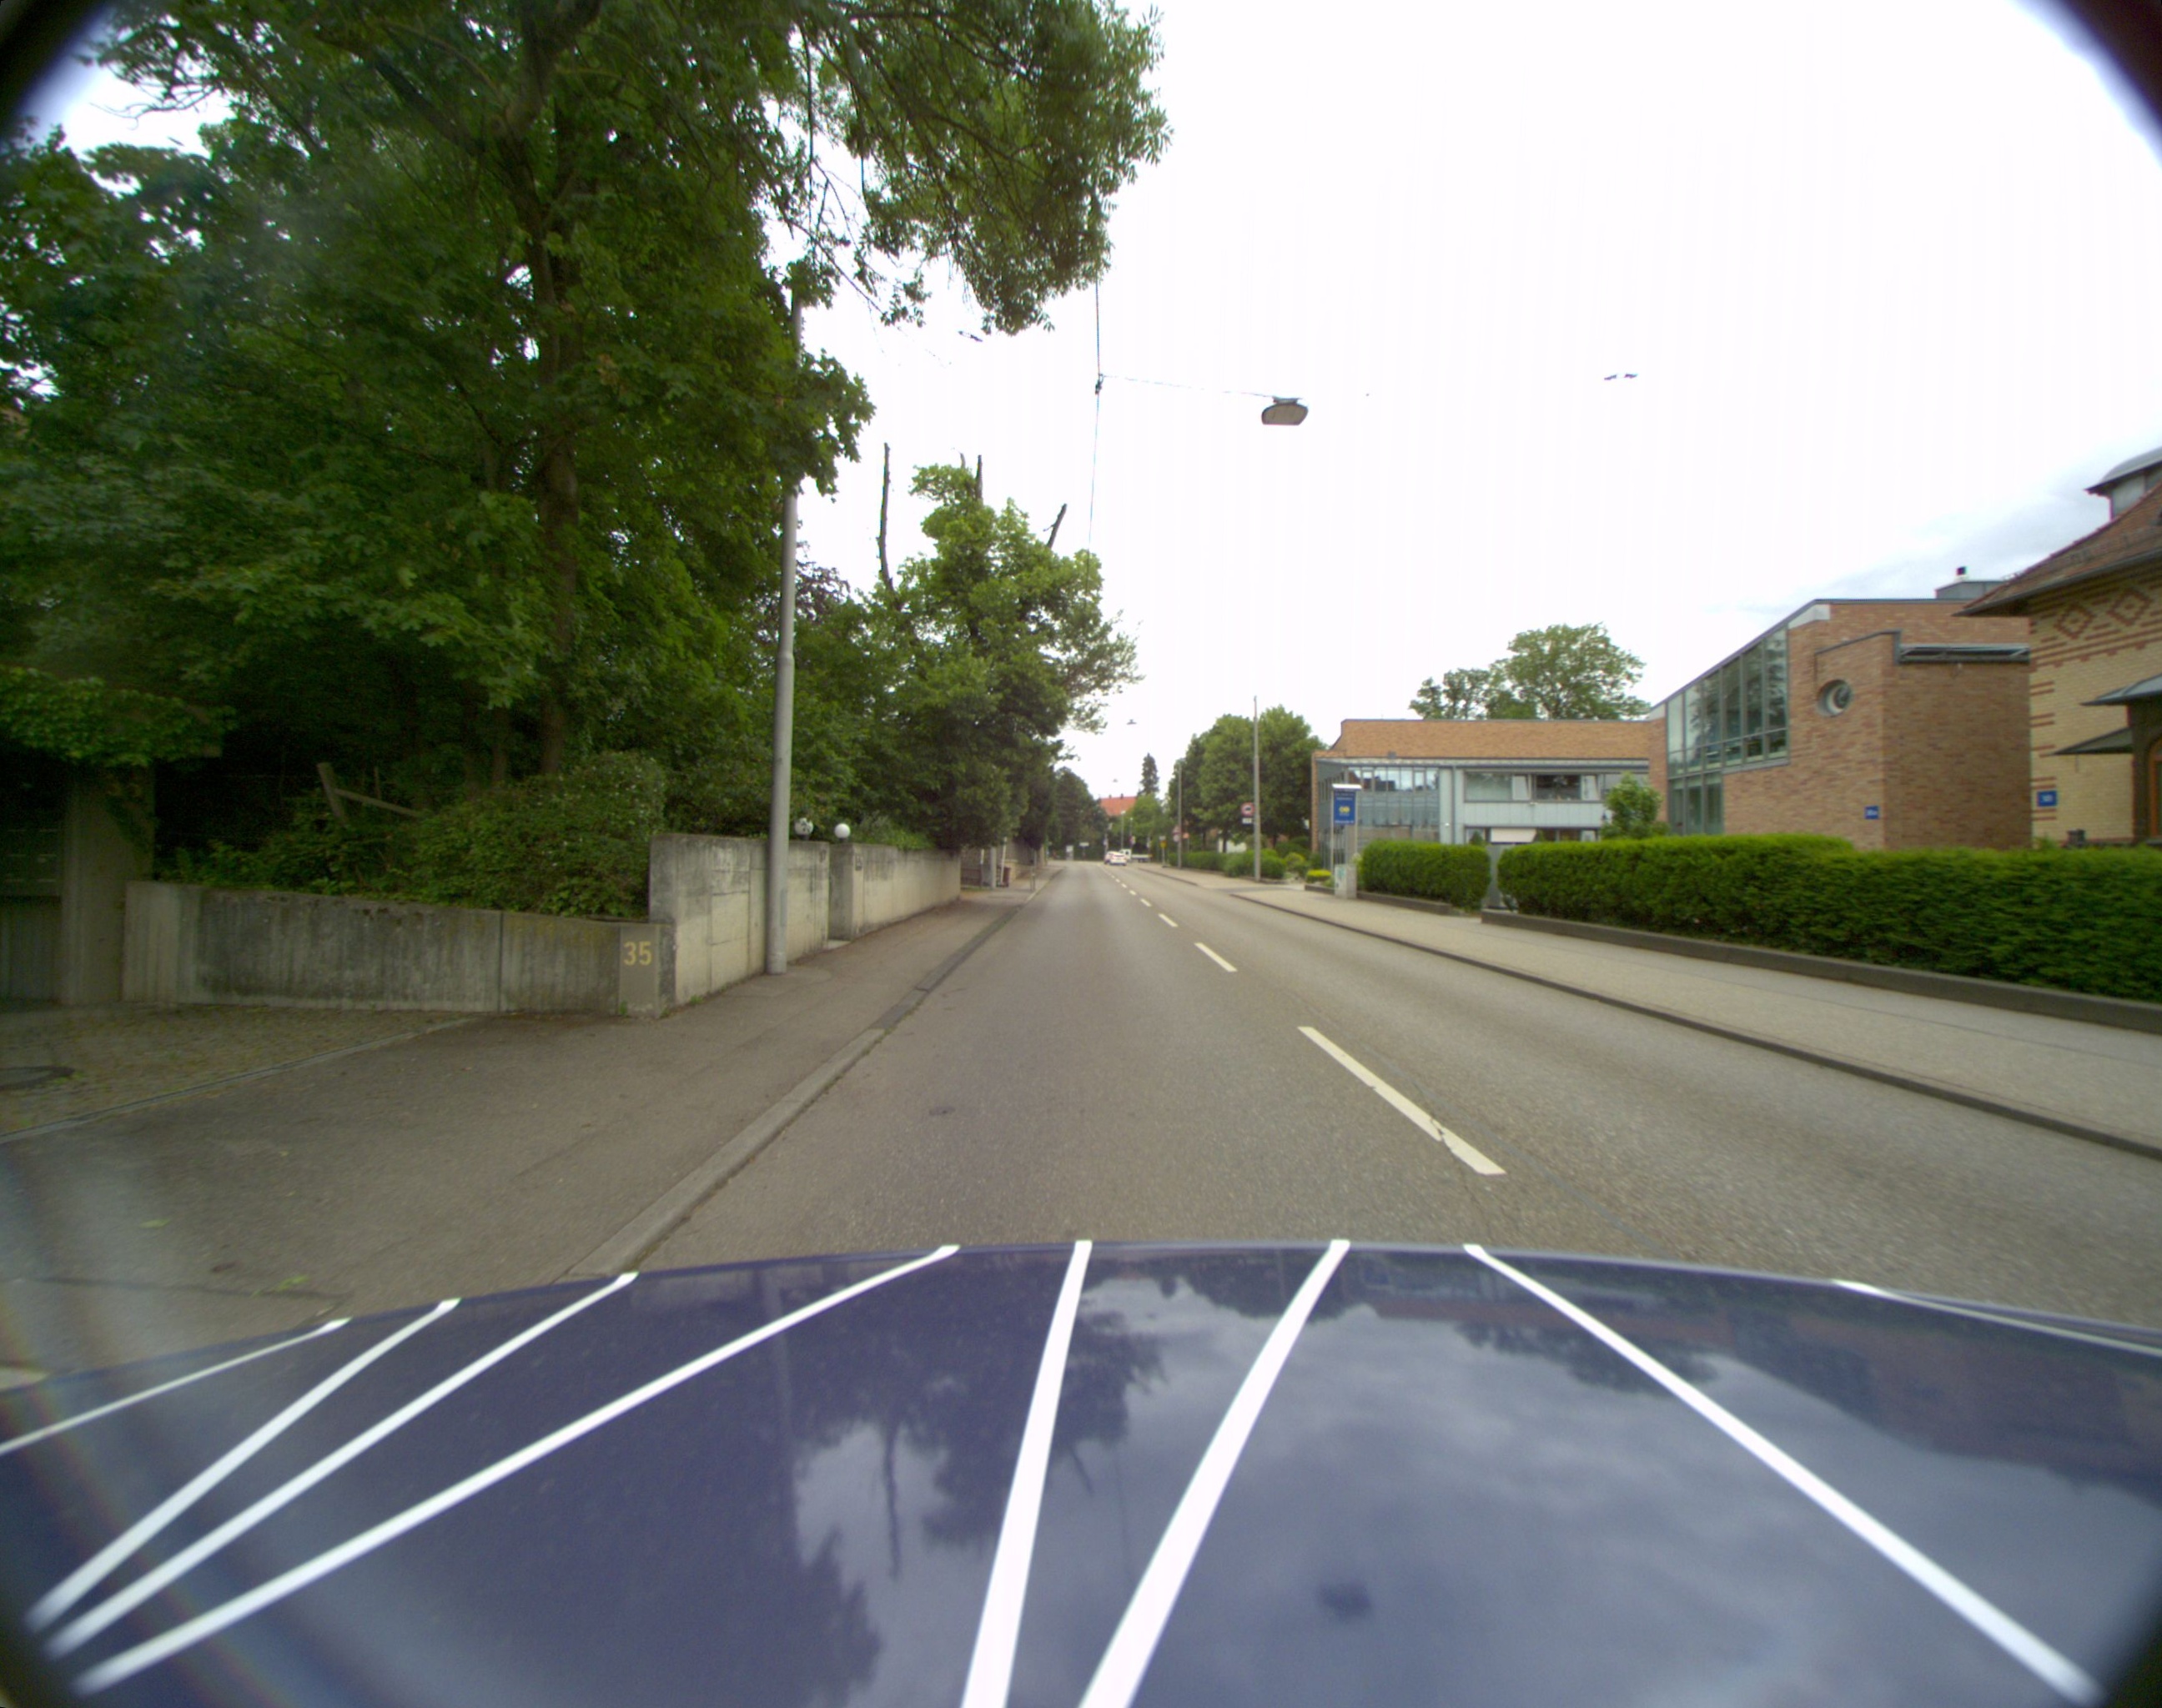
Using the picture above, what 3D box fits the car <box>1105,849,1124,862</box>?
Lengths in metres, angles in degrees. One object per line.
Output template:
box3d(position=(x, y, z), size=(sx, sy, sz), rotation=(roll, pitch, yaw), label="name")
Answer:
box3d(position=(4.216, 0.193, 96.167), size=(1.999, 1.701, 3.998), rotation=(0, 0, -4), label="car")

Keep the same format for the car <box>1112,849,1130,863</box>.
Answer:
box3d(position=(4.688, 0.225, 89.355), size=(1.998, 1.701, 4.000), rotation=(0, 0, 1), label="car")
